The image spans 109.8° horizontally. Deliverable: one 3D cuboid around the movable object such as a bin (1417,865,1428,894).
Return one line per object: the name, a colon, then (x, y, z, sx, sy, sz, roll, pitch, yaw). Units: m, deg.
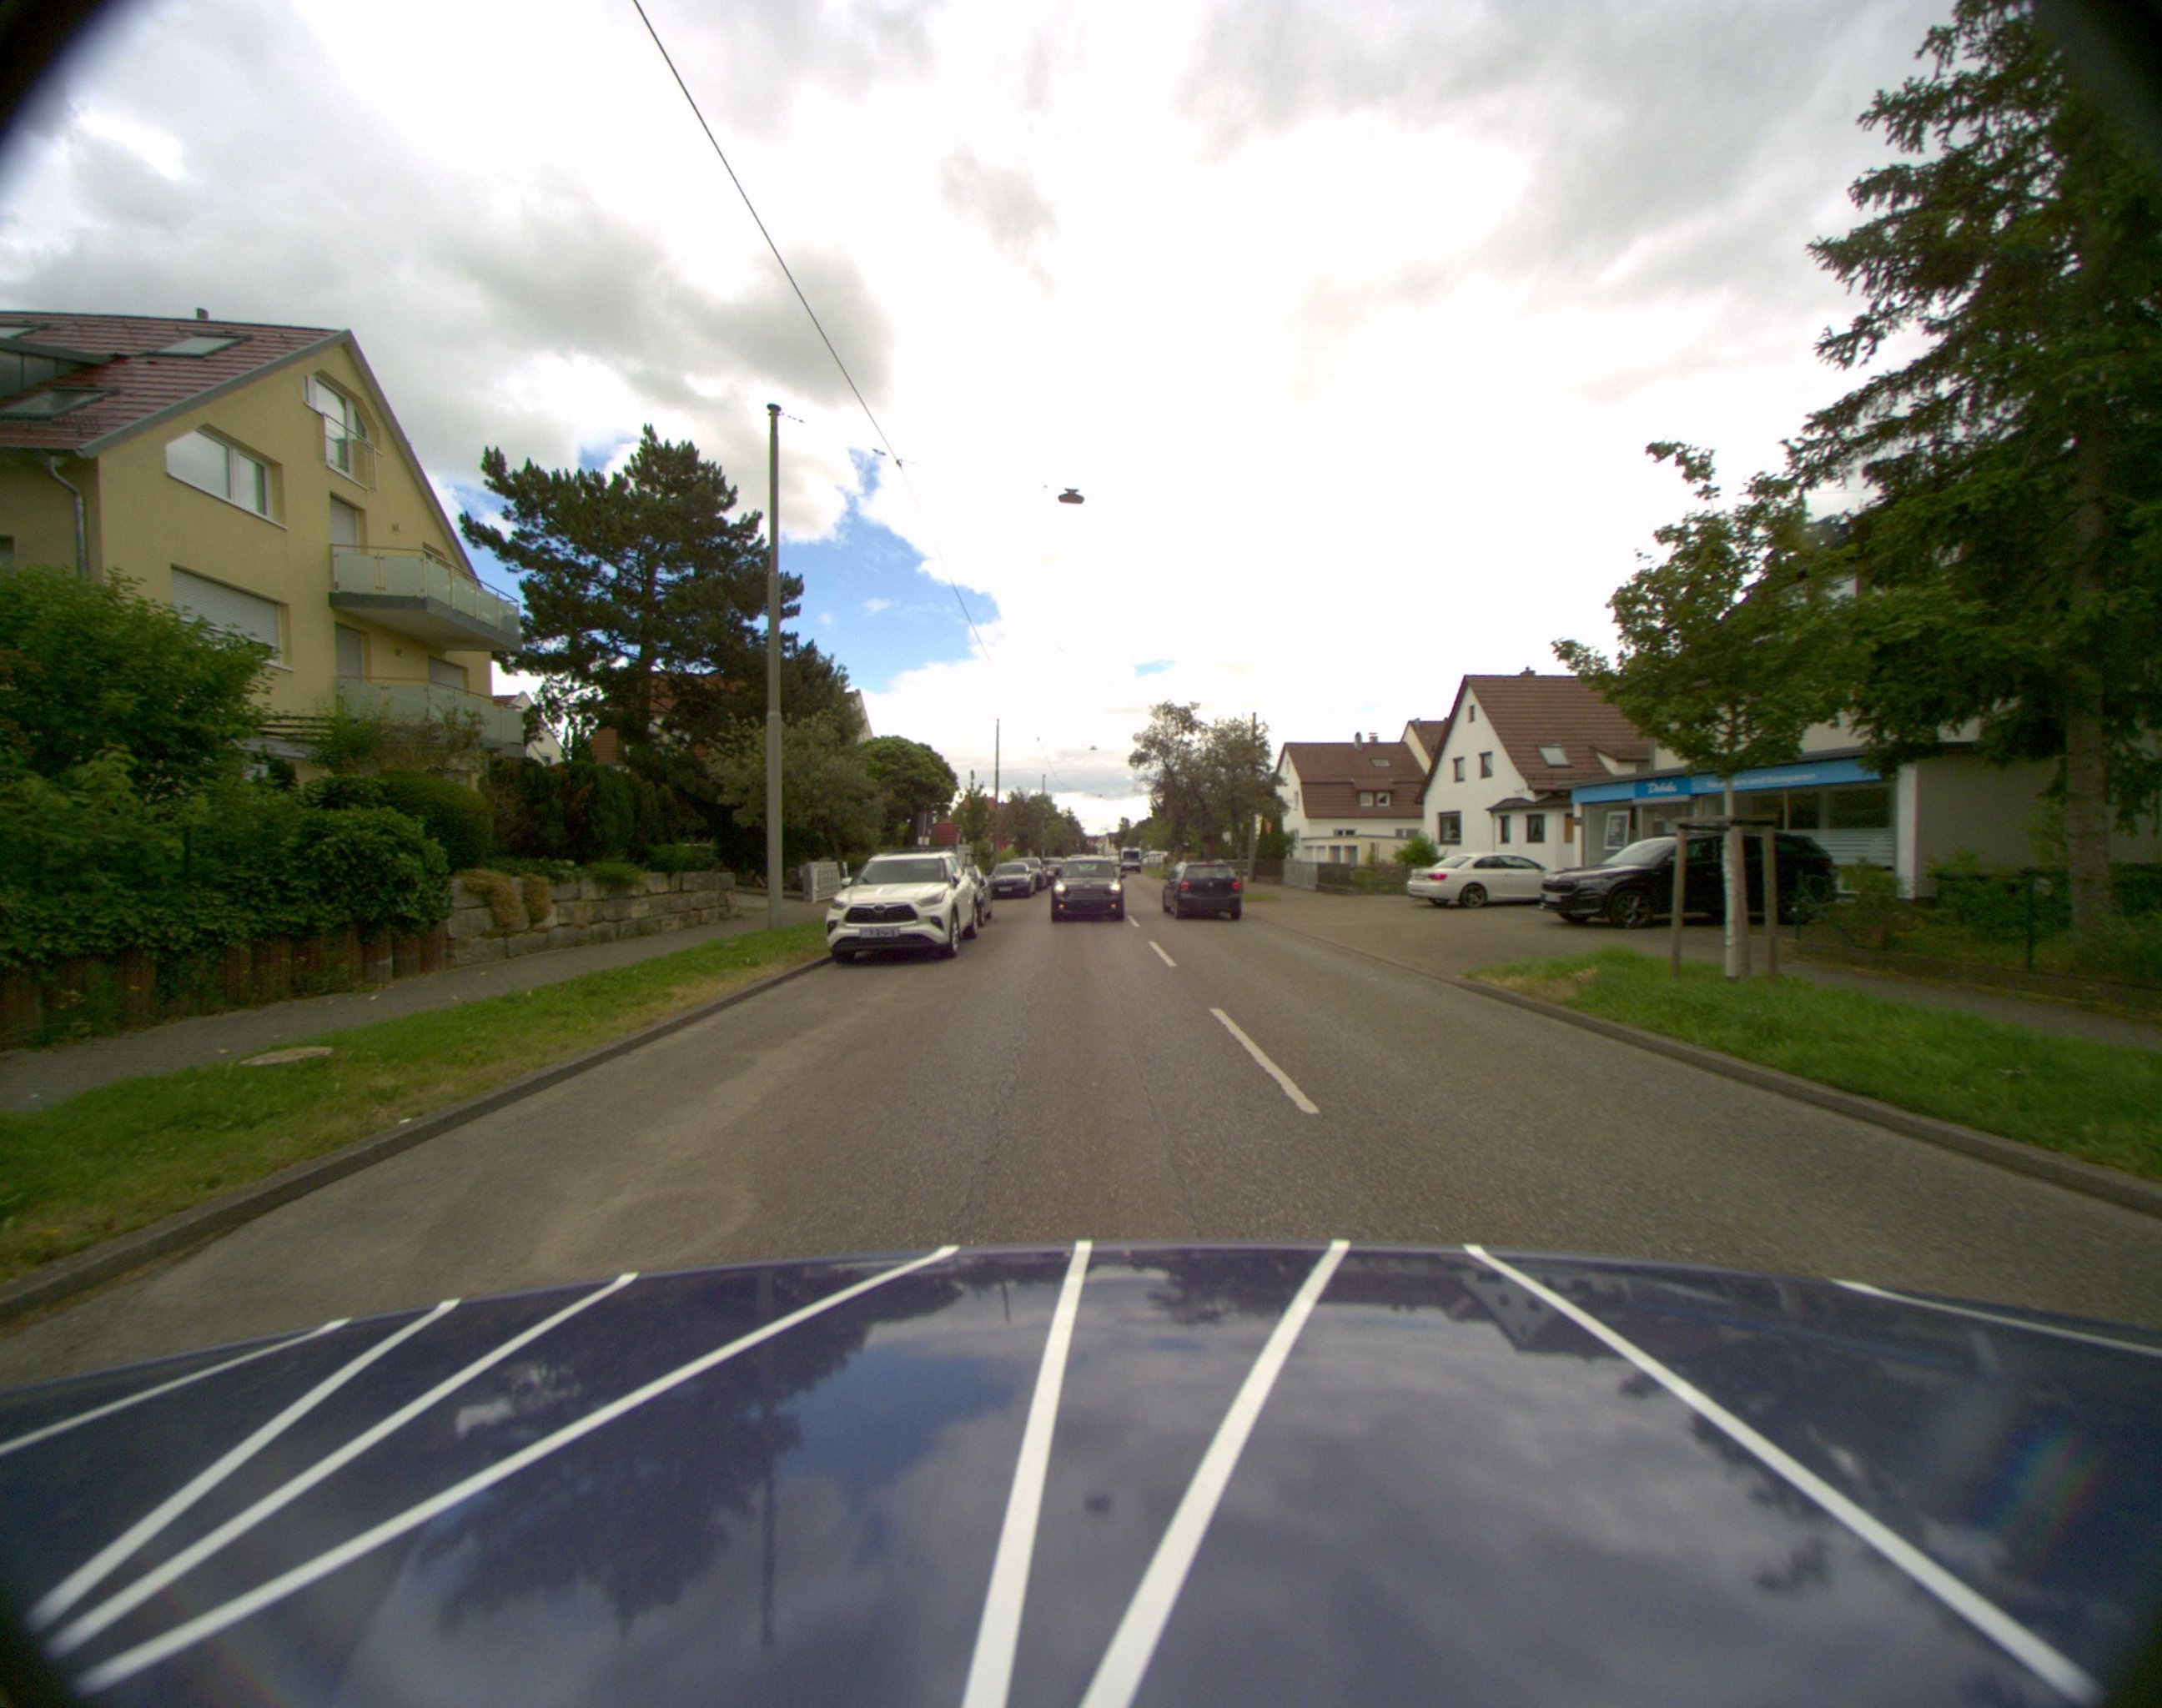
movable object such as a bin: (11.404, 0.843, 25.353, 0.133, 0.954, 0.428, -2, 1, -3)

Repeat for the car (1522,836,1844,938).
car: (10.946, 0.568, 14.106, 4.343, 1.608, 1.973, -2, 1, 3)

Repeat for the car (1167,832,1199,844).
car: (15.768, -2.470, 117.626, 4.644, 1.611, 2.000, -2, 0, 0)

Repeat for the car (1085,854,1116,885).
car: (1.088, 0.796, 41.018, 1.590, 1.598, 3.685, 0, 0, 3)

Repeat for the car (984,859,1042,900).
car: (-2.735, 1.004, 31.536, 1.834, 1.448, 4.550, -2, 0, 1)

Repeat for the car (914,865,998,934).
car: (-3.001, 1.047, 18.831, 1.562, 1.434, 3.506, -2, 0, -2)

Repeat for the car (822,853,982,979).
car: (-2.914, 0.897, 13.453, 1.804, 1.768, 4.704, -2, 0, -2)

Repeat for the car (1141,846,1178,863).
car: (12.756, 0.057, 123.460, 5.610, 2.549, 2.133, 1, 1, 20)

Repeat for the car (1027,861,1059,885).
car: (-2.166, 1.068, 44.309, 1.485, 1.229, 3.884, -3, 0, 2)

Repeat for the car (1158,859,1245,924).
car: (3.061, 0.917, 19.975, 1.579, 1.463, 3.469, 1, 1, -2)

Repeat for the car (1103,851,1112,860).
car: (5.162, 0.347, 149.284, 1.818, 1.683, 4.466, 1, 0, 1)

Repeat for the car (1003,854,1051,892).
car: (-2.586, 0.872, 37.647, 1.834, 1.702, 4.550, -1, 0, 2)

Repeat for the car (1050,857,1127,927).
car: (0.267, 0.881, 19.427, 1.743, 1.573, 3.685, -2, 0, 3)

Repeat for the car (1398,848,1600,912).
car: (10.820, 0.644, 19.832, 4.291, 1.360, 1.815, -3, 1, -5)

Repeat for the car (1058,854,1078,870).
car: (-1.226, 0.718, 74.115, 1.697, 1.445, 4.405, -2, 0, 2)

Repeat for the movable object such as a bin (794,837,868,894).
movable object such as a bin: (-9.450, 0.424, 28.822, 2.317, 2.002, 1.343, -2, 1, -3)

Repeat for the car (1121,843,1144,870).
car: (5.173, 0.212, 76.874, 2.078, 2.567, 5.300, 1, 0, 1)

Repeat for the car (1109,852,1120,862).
car: (5.569, 0.475, 126.180, 1.799, 1.741, 4.299, 0, 0, 2)

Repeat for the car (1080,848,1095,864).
car: (0.820, 0.201, 96.264, 1.779, 1.932, 4.789, -2, 0, 1)

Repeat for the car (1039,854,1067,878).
car: (-1.999, 0.825, 55.154, 1.692, 1.600, 4.109, -3, 0, 2)
